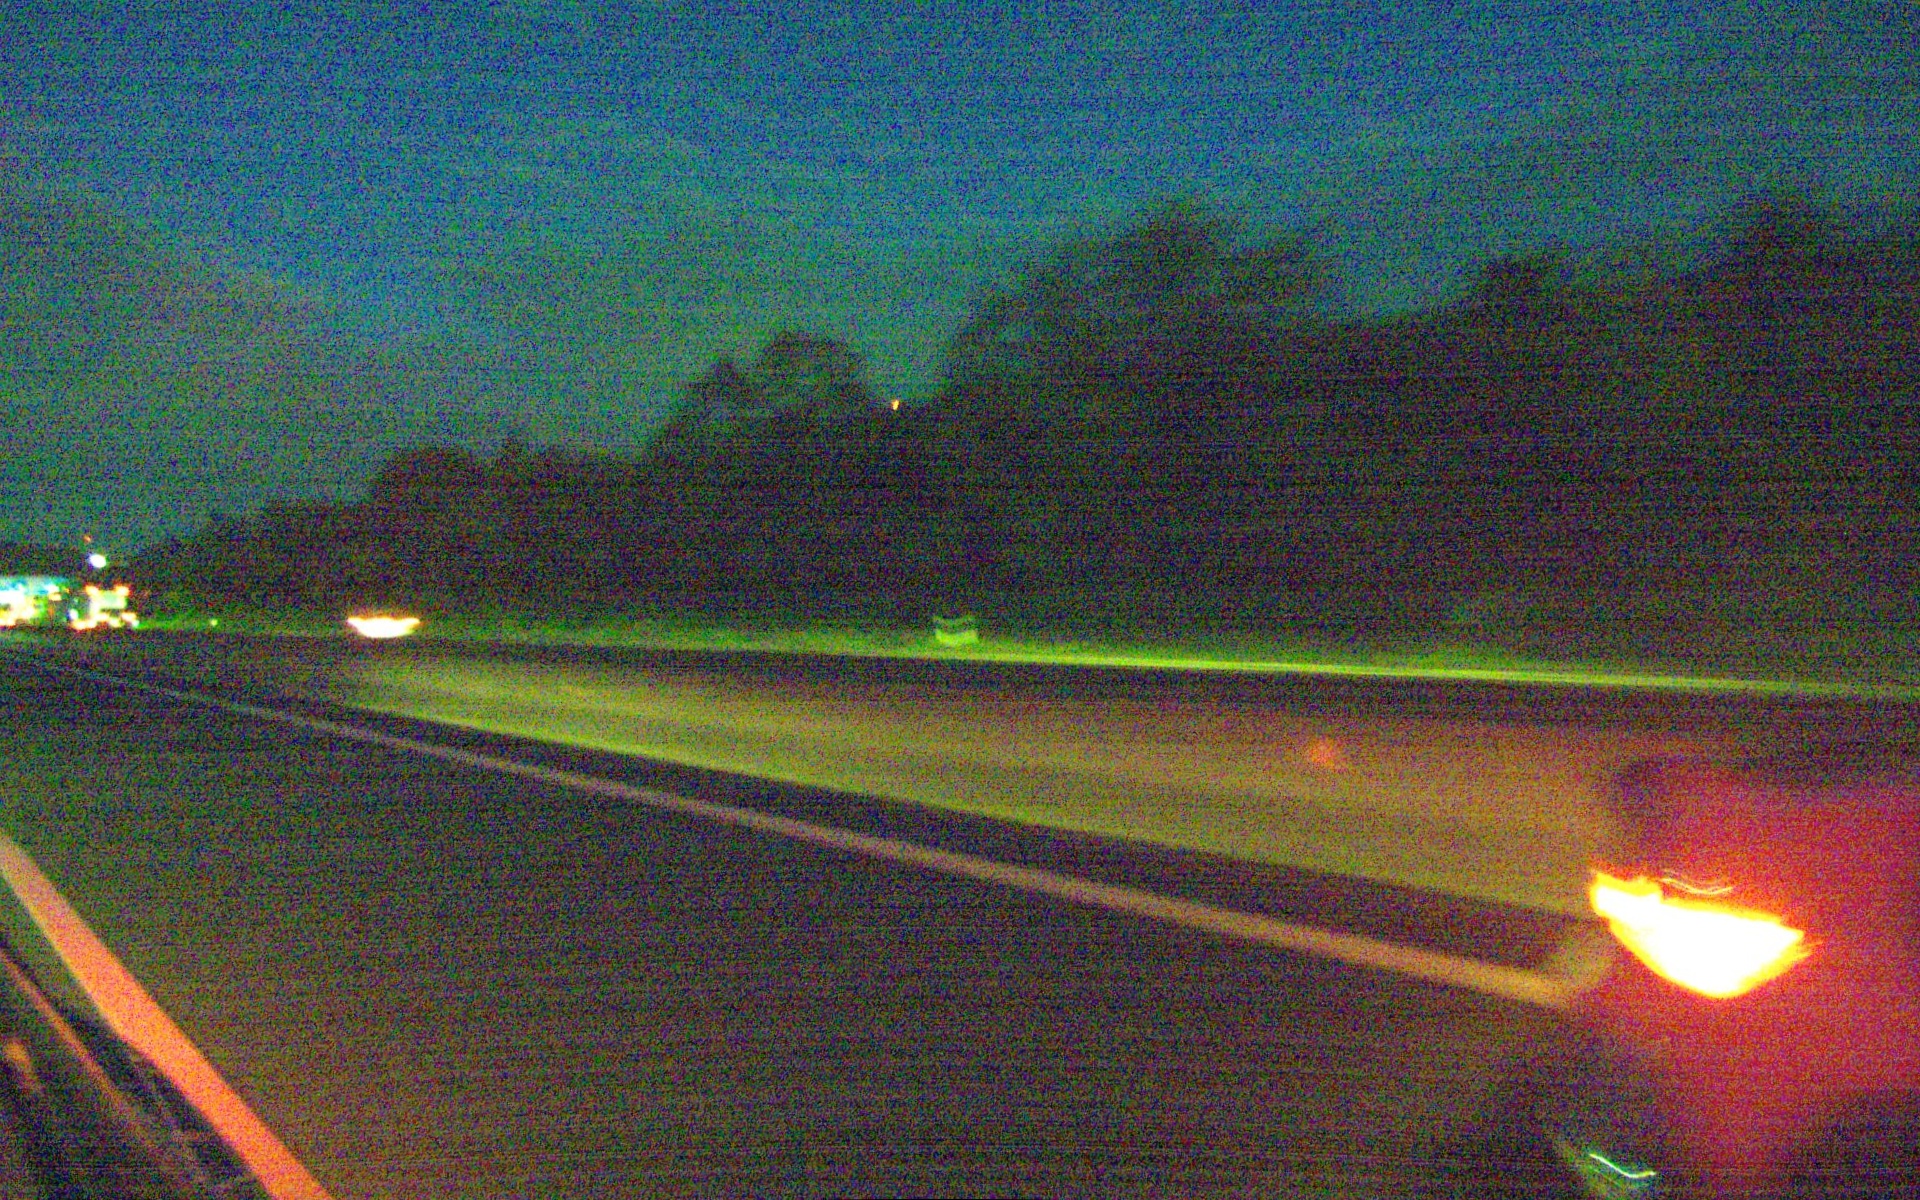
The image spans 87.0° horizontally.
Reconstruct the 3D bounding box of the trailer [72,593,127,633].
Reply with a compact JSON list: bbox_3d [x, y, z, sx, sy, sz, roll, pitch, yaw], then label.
[{"bbox_3d":[-93.574,1.457,109.895,13.883,4.010,2.823,-1,-1,42],"label":"trailer"}]

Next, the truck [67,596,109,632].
[{"bbox_3d":[-98.828,1.577,114.680,5.858,4.010,2.823,-1,-1,42],"label":"truck"}]

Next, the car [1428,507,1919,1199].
[{"bbox_3d":[3.585,0.555,0.602,5.649,1.530,1.972,-3,-1,42],"label":"car"}]

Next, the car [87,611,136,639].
[{"bbox_3d":[-67.065,1.958,79.983,5.714,2.117,2.220,-1,0,42],"label":"car"}]

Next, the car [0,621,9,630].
[{"bbox_3d":[-176.029,4.630,185.751,4.950,1.682,1.988,-1,0,44],"label":"car"}]

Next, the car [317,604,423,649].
[{"bbox_3d":[-23.956,1.057,41.013,4.886,1.681,2.221,-1,0,40],"label":"car"}]
